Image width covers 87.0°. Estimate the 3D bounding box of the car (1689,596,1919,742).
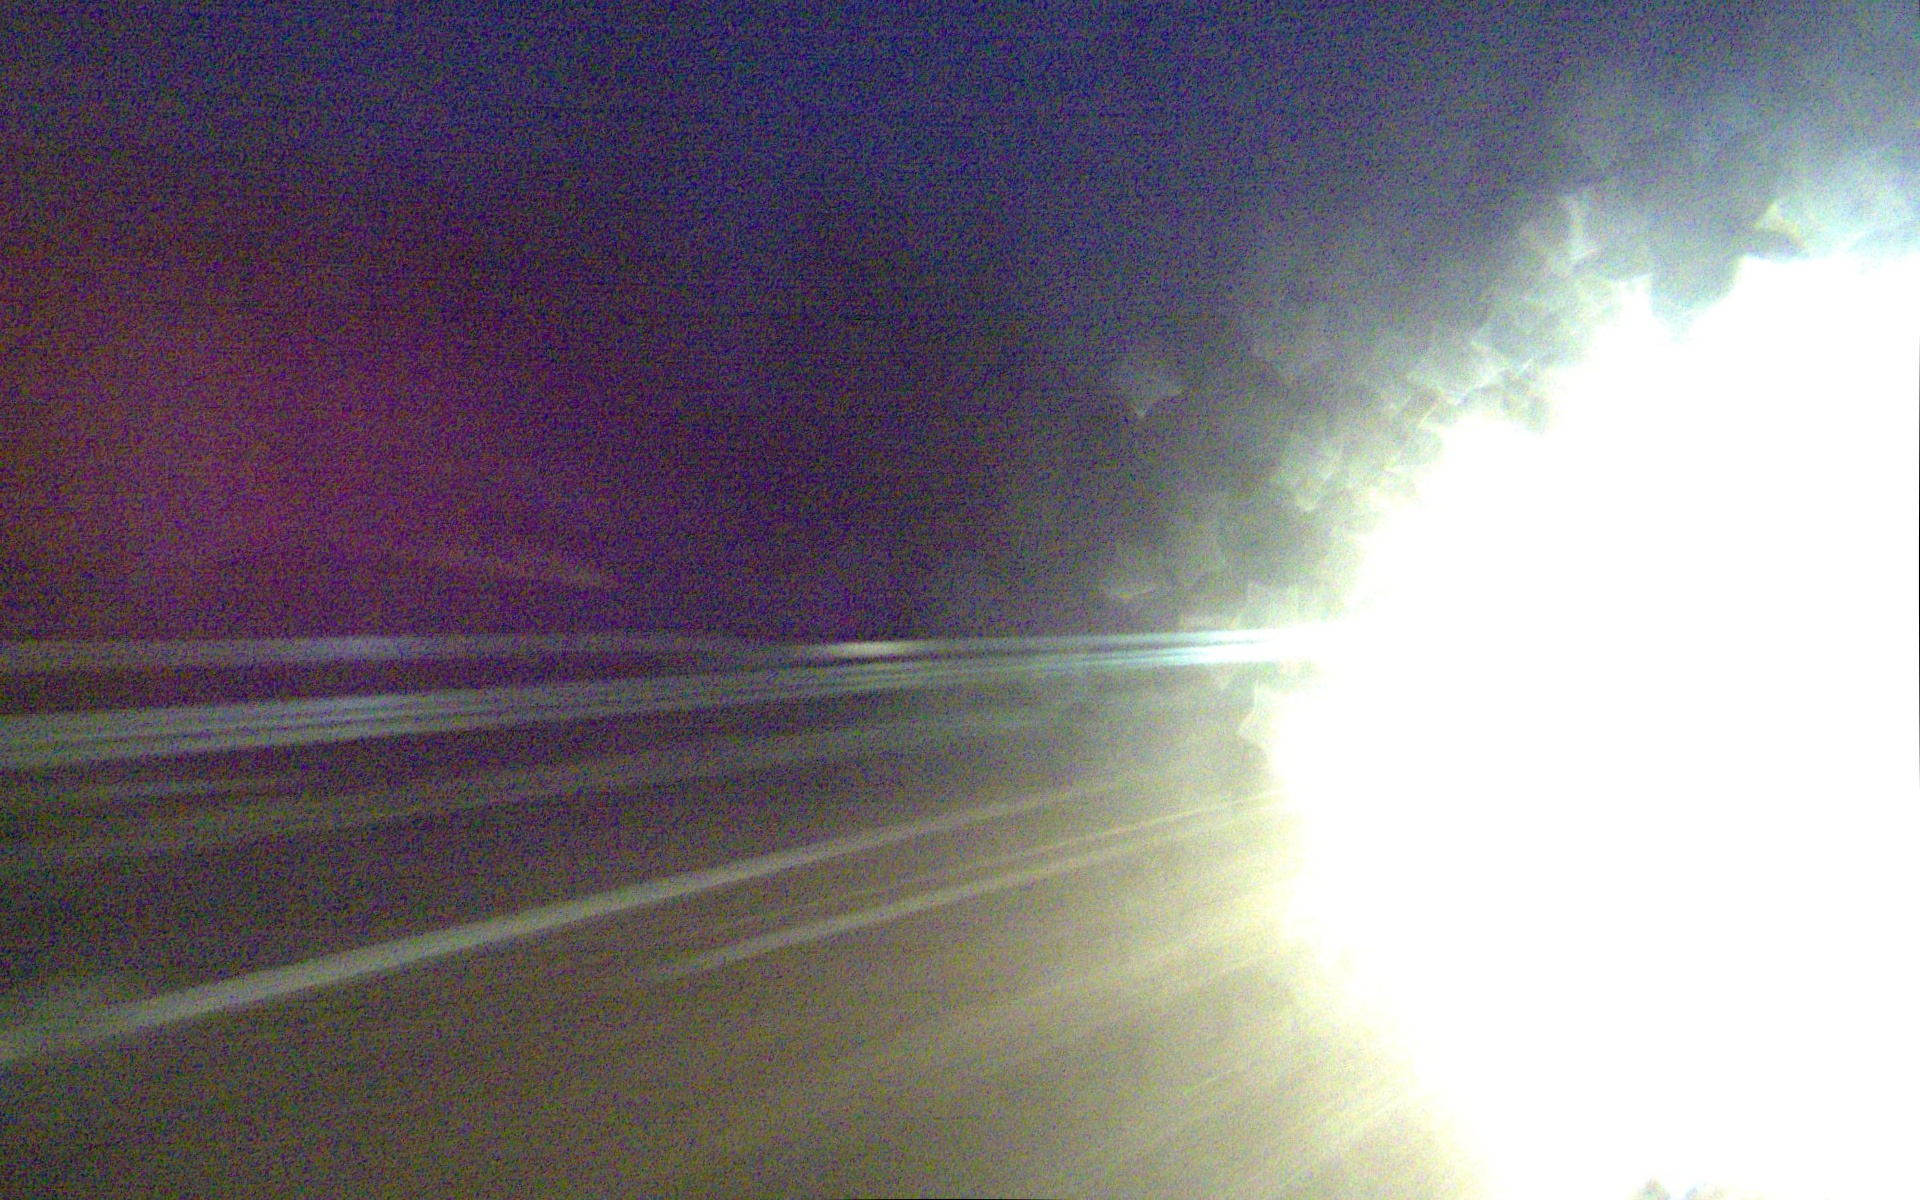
[{"bbox_3d":[10.525,0.705,12.364,4.122,1.476,1.772,0,0,-41],"label":"car"}]
